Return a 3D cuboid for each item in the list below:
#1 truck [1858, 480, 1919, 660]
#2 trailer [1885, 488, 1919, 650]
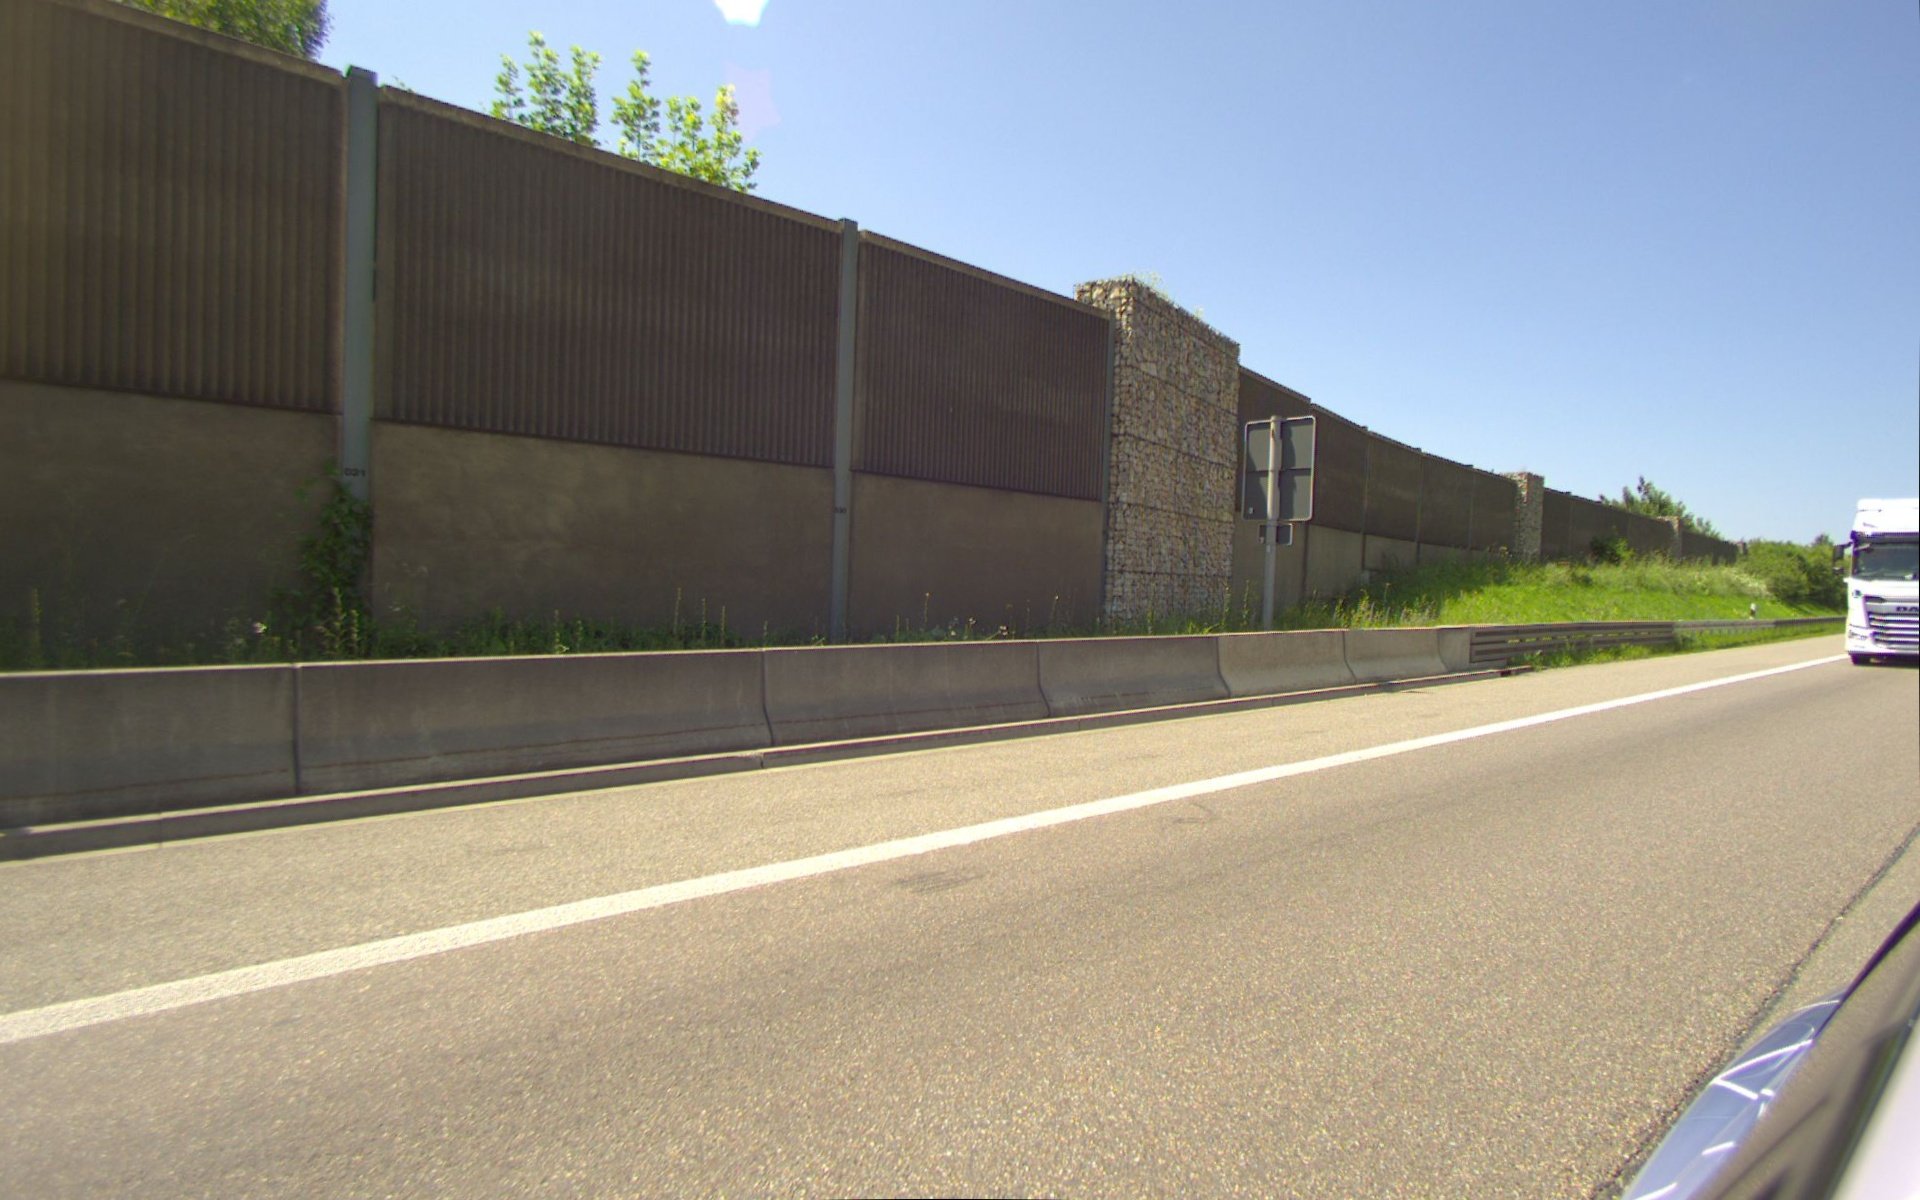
[{"bbox_3d":[23.989,-0.672,24.688,6.273,4.027,2.481,0,1,-43],"label":"truck"},{"bbox_3d":[29.207,-0.765,29.265,13.424,4.027,2.481,0,1,-43],"label":"trailer"}]
